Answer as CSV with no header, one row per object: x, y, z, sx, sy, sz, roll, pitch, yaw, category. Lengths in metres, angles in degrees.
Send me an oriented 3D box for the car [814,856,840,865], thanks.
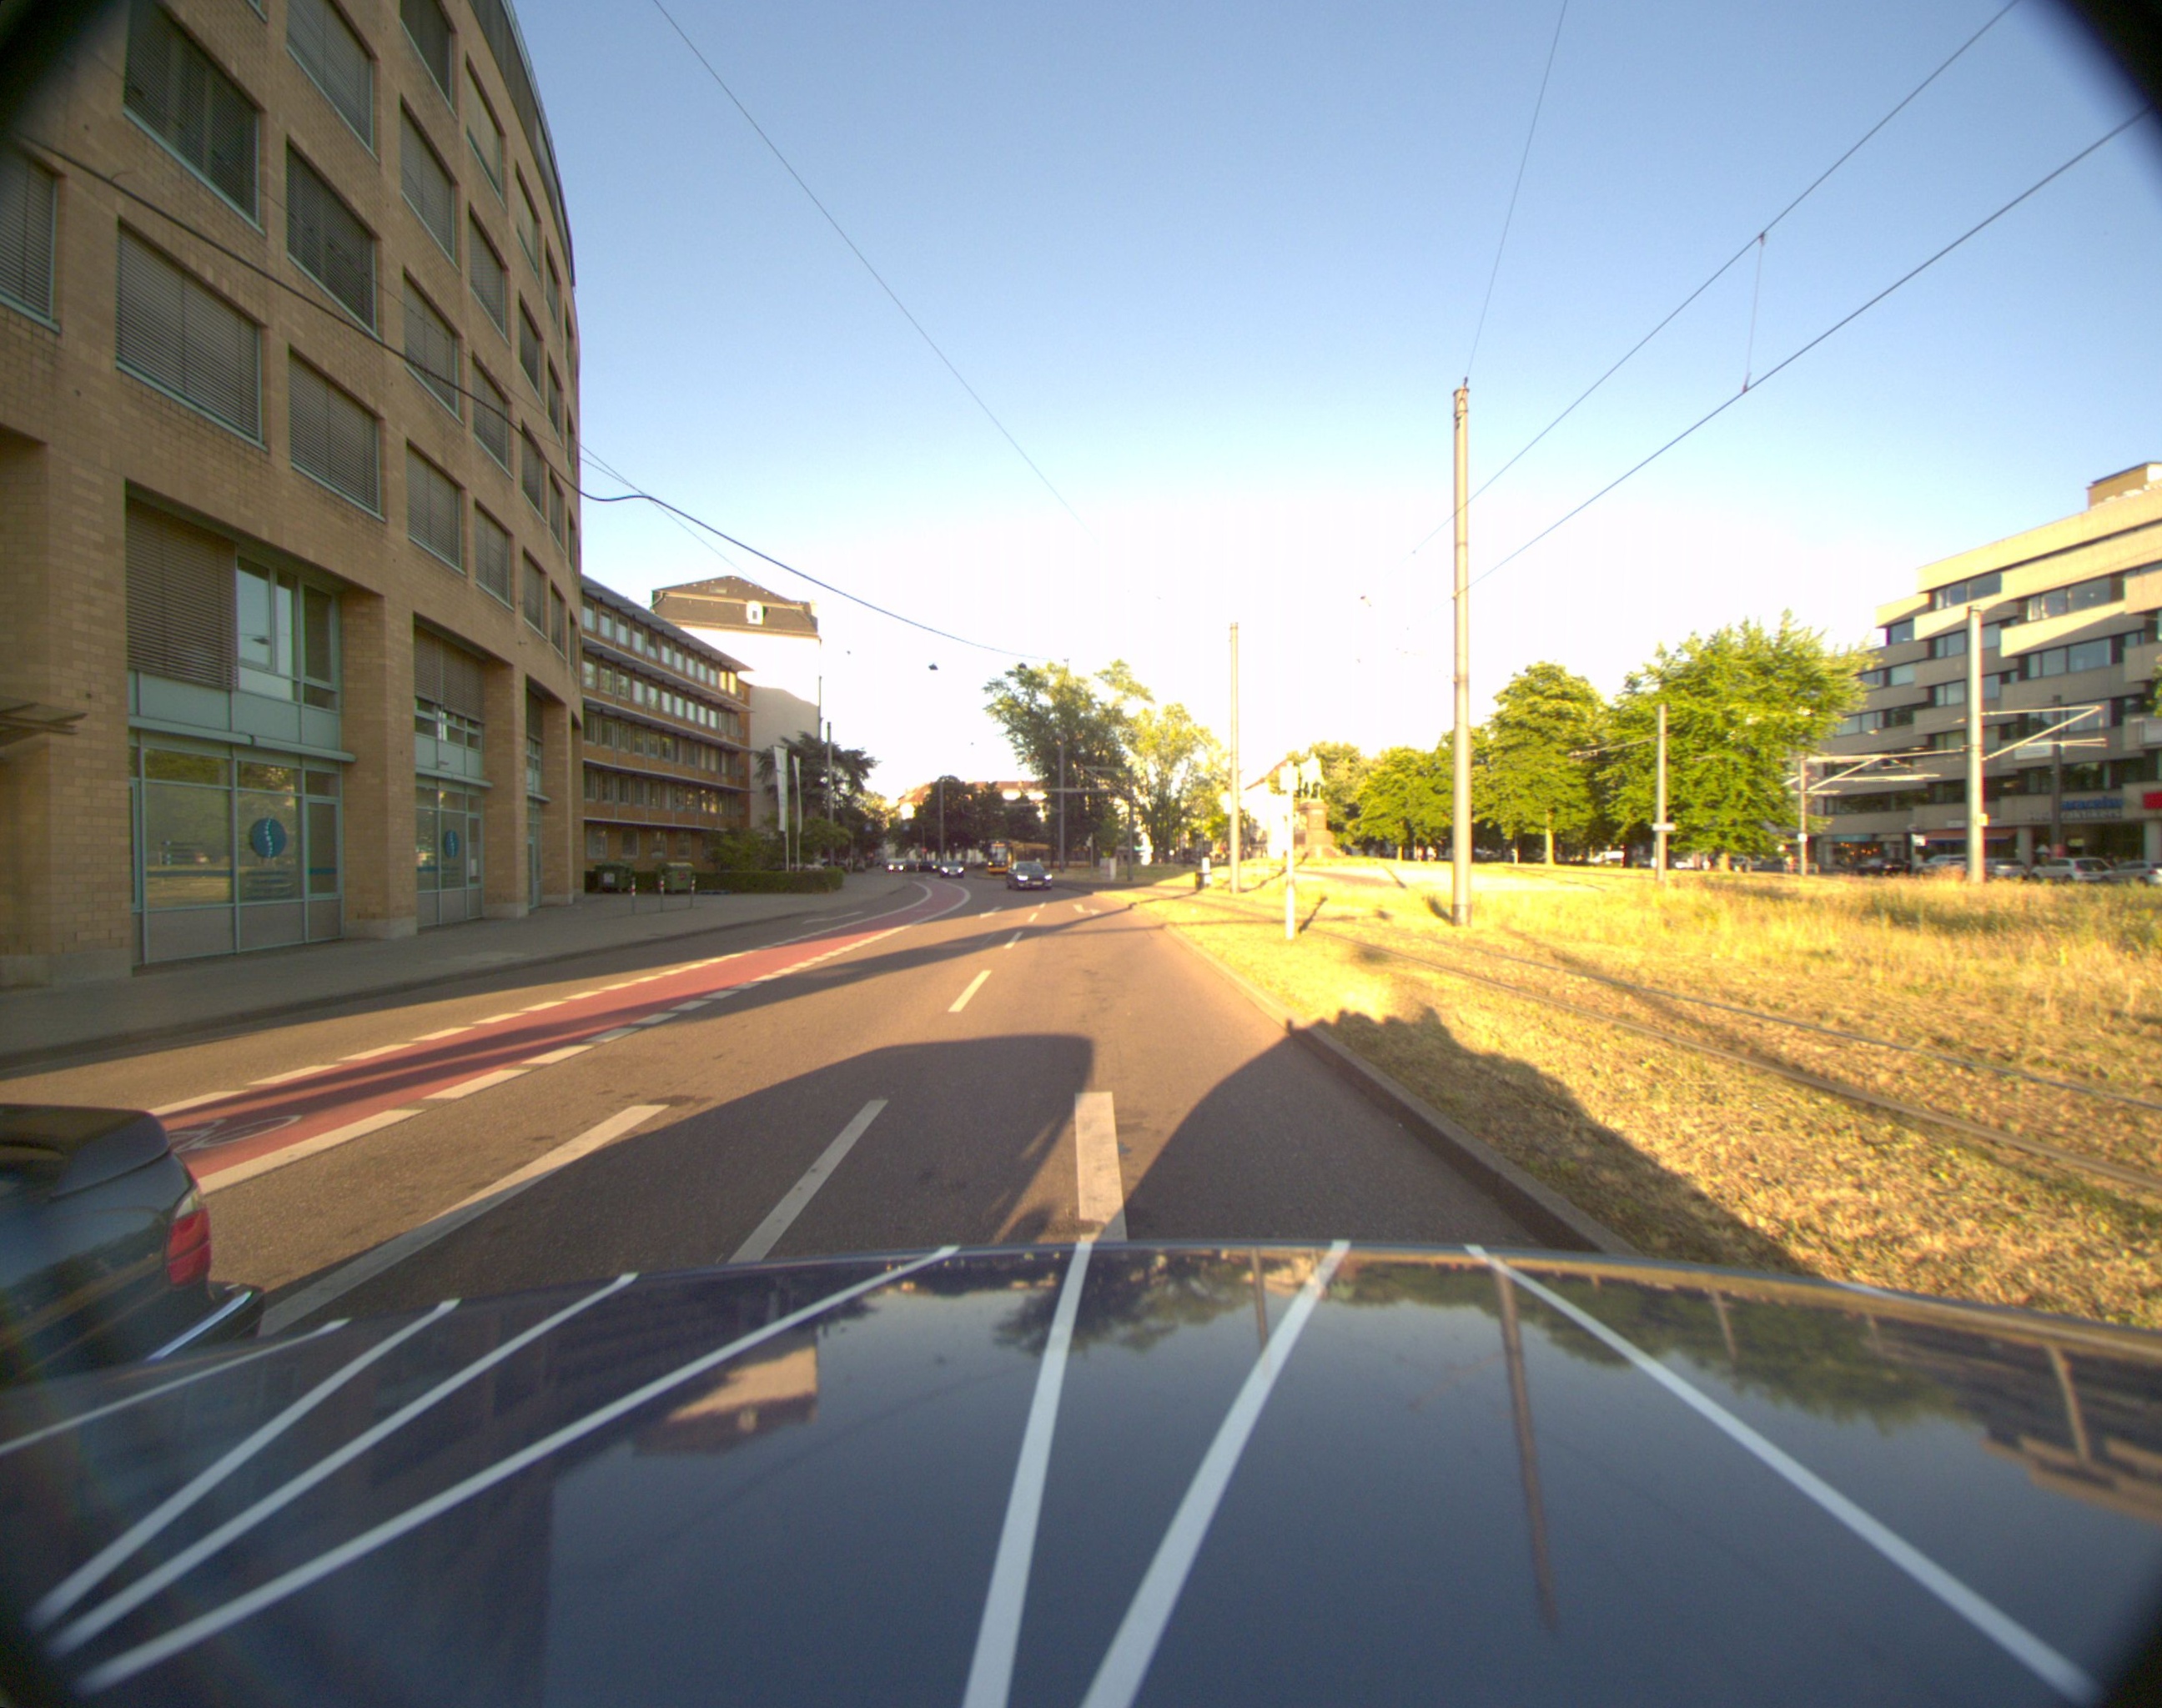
-45.507,1.153,136.068,4.404,1.603,1.726,0,-1,-23,car

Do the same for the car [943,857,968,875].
-11.064,1.055,66.834,1.822,1.473,4.131,0,-1,-14,car

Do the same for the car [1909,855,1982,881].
61.414,1.022,54.082,1.755,1.784,4.217,-1,-1,23,car

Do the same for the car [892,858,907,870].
-23.913,1.315,100.190,1.822,1.473,4.131,-1,-1,-14,car

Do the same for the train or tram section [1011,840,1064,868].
-5.077,-0.063,92.551,2.927,3.123,12.869,-1,0,13,train or tram section

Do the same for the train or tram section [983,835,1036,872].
-7.235,-0.101,79.652,2.946,3.563,13.372,-1,0,6,train or tram section

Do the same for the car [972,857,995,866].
-17.909,1.383,139.101,4.011,1.714,1.701,0,-1,-1,car

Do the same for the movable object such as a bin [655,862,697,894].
-18.240,1.072,34.229,0.972,1.429,1.347,0,-1,19,movable object such as a bin

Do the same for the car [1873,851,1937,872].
64.360,0.603,59.439,1.861,1.547,4.076,-1,-1,23,car

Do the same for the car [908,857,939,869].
-21.395,1.204,103.381,4.067,1.547,1.865,0,-1,-6,car

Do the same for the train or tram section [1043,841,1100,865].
-1.092,-0.199,104.443,2.919,3.123,12.665,-1,0,23,train or tram section

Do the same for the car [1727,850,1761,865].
76.184,0.383,87.313,1.755,1.653,4.007,-1,-1,23,car

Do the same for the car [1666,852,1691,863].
79.360,0.480,100.935,1.707,1.382,4.008,-1,-1,24,car

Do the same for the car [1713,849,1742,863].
78.509,0.264,92.274,1.793,1.570,4.008,-1,-1,27,car

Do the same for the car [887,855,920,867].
-30.083,1.192,128.999,5.078,2.010,1.968,0,-1,2,car

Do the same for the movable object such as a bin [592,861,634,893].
-21.260,1.041,34.561,1.345,1.415,0.923,0,-1,-7,movable object such as a bin

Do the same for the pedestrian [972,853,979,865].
-18.690,0.874,134.813,0.827,2.001,1.011,-1,-1,30,pedestrian

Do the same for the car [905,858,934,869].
-24.297,1.449,114.310,4.067,1.608,1.999,0,-1,-6,car

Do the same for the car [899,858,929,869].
-24.525,1.428,111.755,4.067,1.542,1.999,0,-1,-6,car

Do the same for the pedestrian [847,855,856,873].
-22.782,0.958,75.465,0.591,1.781,0.822,0,-1,11,pedestrian

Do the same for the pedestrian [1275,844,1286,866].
14.712,0.077,56.021,0.476,1.680,0.835,0,0,-14,pedestrian

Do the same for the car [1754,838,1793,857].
72.847,-0.654,80.020,1.755,1.932,4.217,-1,-1,23,car

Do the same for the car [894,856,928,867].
-28.251,1.268,126.167,5.078,1.891,2.122,0,-1,2,car

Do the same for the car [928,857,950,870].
-16.032,1.088,85.455,1.823,1.473,4.129,0,-1,-19,car

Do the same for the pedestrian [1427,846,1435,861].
37.697,-0.063,81.939,0.619,1.571,0.553,0,-1,2,pedestrian

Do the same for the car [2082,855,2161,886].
54.159,0.841,38.972,1.755,1.542,4.008,-1,-1,26,car

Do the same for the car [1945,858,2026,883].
58.606,1.049,49.316,1.755,1.542,4.007,-1,-1,23,car

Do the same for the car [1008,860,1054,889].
-2.704,1.059,40.236,1.822,1.473,4.132,0,-1,-12,car

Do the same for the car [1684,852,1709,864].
83.844,0.512,103.527,1.793,1.570,4.008,-1,-1,27,car

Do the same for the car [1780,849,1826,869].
70.186,0.515,73.932,1.935,1.784,4.217,-1,-1,23,car

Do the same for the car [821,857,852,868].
-33.984,1.190,105.672,4.072,1.560,1.835,0,-1,-19,car

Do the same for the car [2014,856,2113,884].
56.332,0.935,43.675,1.755,1.542,4.007,-1,-1,23,car
